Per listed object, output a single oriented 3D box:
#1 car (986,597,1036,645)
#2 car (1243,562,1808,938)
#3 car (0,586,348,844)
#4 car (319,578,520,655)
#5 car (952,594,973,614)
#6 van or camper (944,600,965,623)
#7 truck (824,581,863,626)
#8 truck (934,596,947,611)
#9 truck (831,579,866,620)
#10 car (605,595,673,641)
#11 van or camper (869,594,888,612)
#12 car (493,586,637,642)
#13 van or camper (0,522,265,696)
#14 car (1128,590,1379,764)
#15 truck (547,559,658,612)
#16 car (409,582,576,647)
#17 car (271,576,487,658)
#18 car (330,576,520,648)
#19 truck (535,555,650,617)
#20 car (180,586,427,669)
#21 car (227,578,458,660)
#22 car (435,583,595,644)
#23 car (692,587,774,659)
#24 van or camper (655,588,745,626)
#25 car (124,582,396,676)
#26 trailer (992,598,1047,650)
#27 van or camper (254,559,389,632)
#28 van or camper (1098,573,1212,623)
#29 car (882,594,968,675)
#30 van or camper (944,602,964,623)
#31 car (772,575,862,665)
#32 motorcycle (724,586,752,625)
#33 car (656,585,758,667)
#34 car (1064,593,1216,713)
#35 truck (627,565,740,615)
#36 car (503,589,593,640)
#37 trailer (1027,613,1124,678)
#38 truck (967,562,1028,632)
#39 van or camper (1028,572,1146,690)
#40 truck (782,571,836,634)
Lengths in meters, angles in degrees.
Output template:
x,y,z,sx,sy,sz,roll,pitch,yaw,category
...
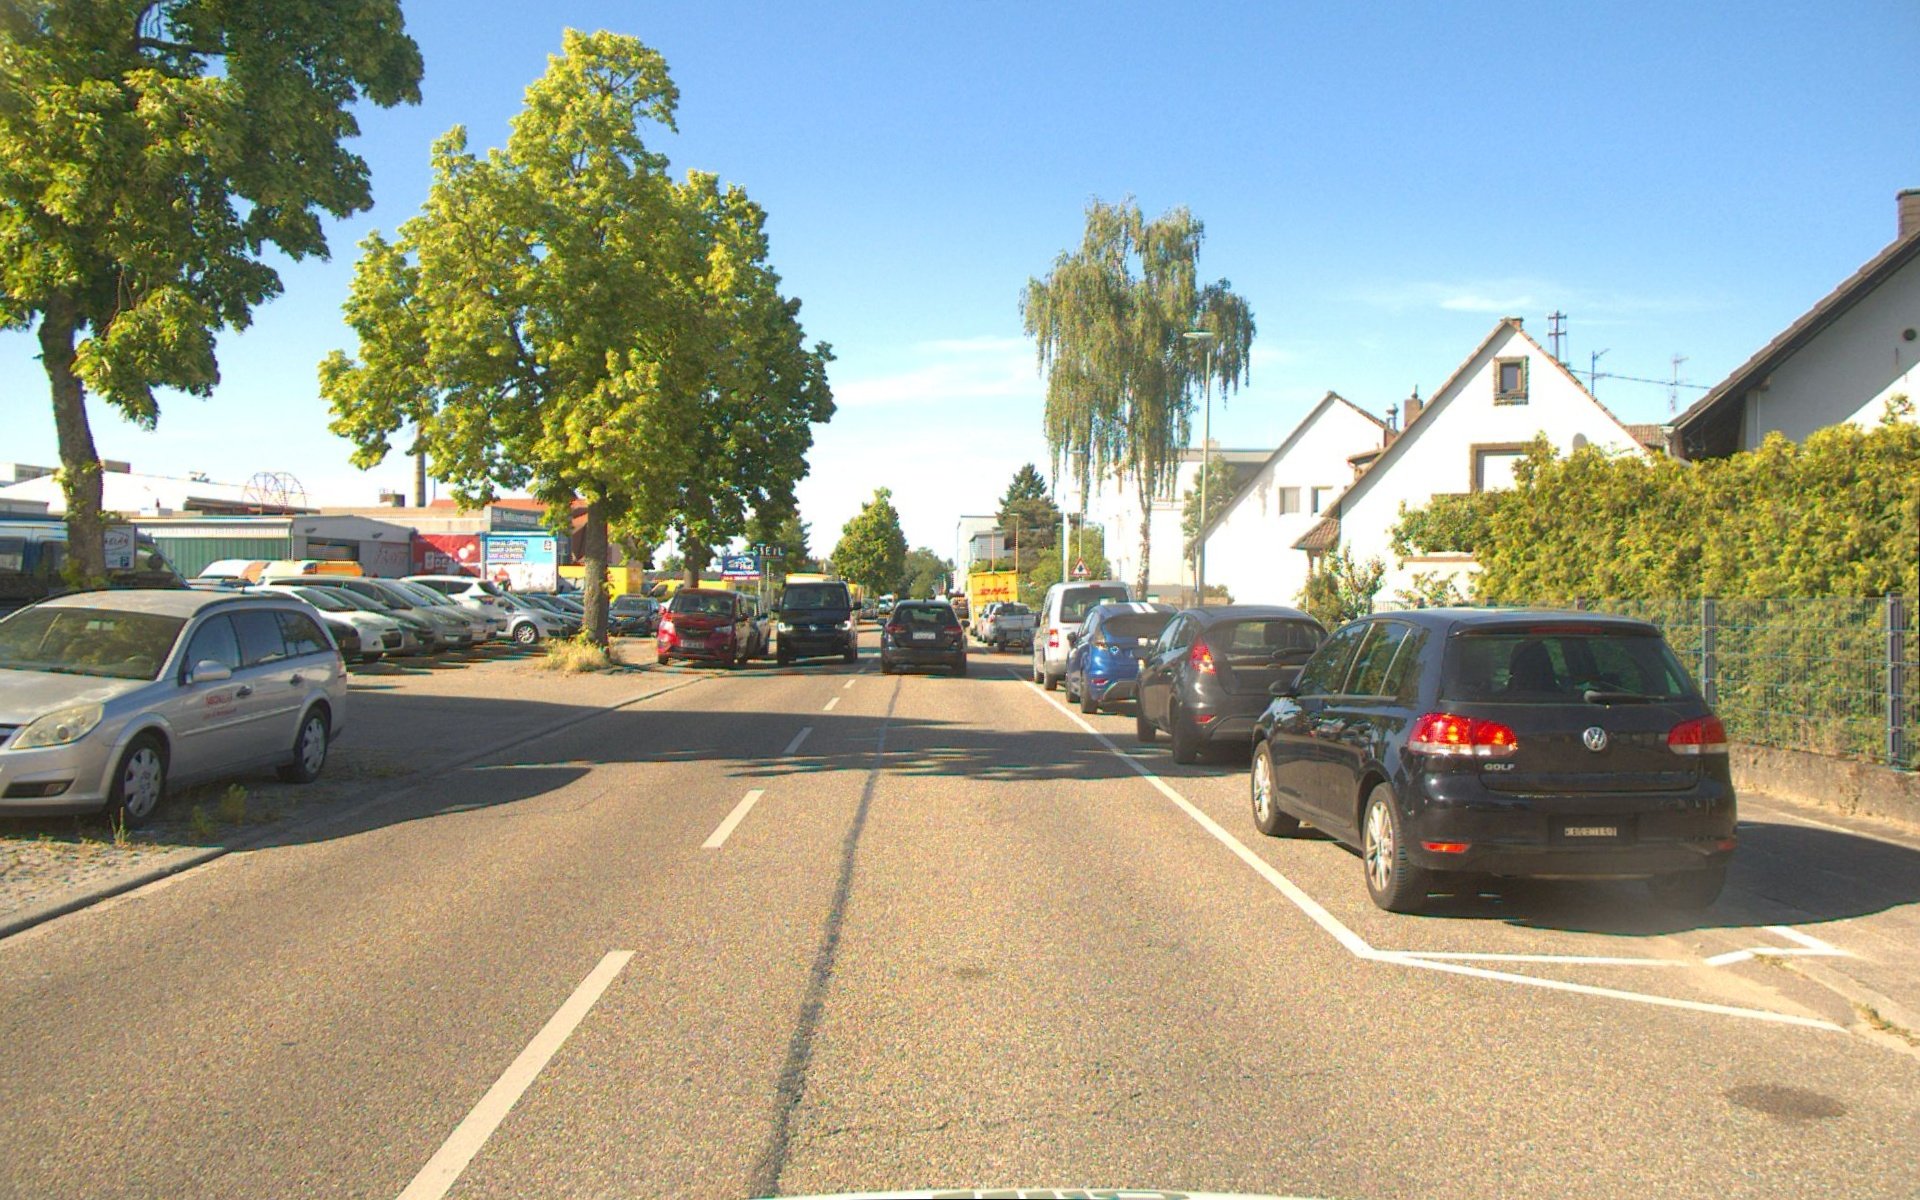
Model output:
x,y,z,sx,sy,sz,roll,pitch,yaw,category
1.778,0.698,57.218,1.639,1.569,4.044,1,0,2,car
2.901,0.679,9.412,1.740,1.688,3.814,1,0,-3,car
-6.080,0.671,11.933,1.652,1.460,4.209,3,0,1,car
-12.782,0.379,39.221,4.159,1.759,1.767,0,0,4,car
0.219,0.351,155.812,1.880,1.857,4.079,0,0,-1,car
-0.567,1.138,166.034,1.953,2.351,3.999,0,0,-1,van or camper
-8.285,0.230,118.106,2.354,3.035,6.372,2,0,-1,truck
-3.029,0.476,260.274,1.953,2.328,6.953,0,0,-1,truck
-8.467,-0.024,125.985,2.148,2.952,6.438,2,0,0,truck
-12.031,0.719,62.220,1.824,1.618,4.274,0,-2,-2,car
-11.102,0.377,224.236,2.278,2.403,6.521,0,0,-5,van or camper
-12.703,0.442,53.328,4.159,1.759,1.767,0,0,4,car
-13.027,0.113,24.187,4.788,2.361,2.245,1,-1,11,van or camper
2.821,0.689,16.712,1.684,1.531,3.905,1,0,-2,car
-21.009,-0.849,97.248,5.961,3.024,2.175,0,0,12,truck
-13.052,0.399,46.347,4.161,1.759,1.766,0,0,1,car
-12.889,0.367,36.822,4.160,1.783,1.766,0,0,2,car
-13.377,0.289,41.508,4.159,1.759,1.767,0,0,4,car
-20.195,-0.778,91.040,5.547,3.174,2.525,2,0,10,truck
-12.868,0.514,32.564,4.160,1.569,1.767,0,1,3,car
-12.890,0.380,34.695,4.163,1.613,1.765,1,0,-3,car
-13.034,0.386,48.584,4.159,1.759,1.767,0,0,4,car
-6.123,0.590,45.056,1.640,1.802,4.553,3,0,-2,car
-14.166,0.376,90.259,4.447,2.049,2.252,0,0,5,van or camper
-12.587,0.505,29.885,4.159,1.569,1.767,1,0,4,car
1.818,0.713,51.268,1.594,1.565,3.198,0,0,0,trailer
-25.245,-0.170,65.732,2.118,2.763,6.274,0,0,9,van or camper
10.331,-0.090,87.583,5.744,2.586,2.270,0,0,-27,van or camper
-0.681,0.660,34.008,1.677,1.559,3.687,0,0,0,car
-0.601,1.215,161.152,1.880,2.055,4.079,0,0,-1,van or camper
-3.494,0.475,41.123,1.855,2.067,4.817,-1,0,-1,car
-11.300,0.254,84.234,0.765,1.905,3.042,3,1,3,motorcycle
-5.933,0.587,39.266,1.767,1.783,4.341,2,0,-1,car
2.454,0.691,23.317,1.684,1.531,3.563,1,0,-1,car
-15.552,-0.561,93.228,5.795,2.612,2.225,2,0,10,truck
-15.498,0.527,62.440,1.738,1.779,4.168,0,1,10,car
2.363,0.921,34.546,1.595,1.238,3.142,0,0,-4,trailer
1.655,-0.121,75.438,2.354,2.988,7.014,-2,0,-1,truck
2.189,0.510,29.415,1.684,1.924,4.179,1,0,-1,van or camper
-7.850,0.133,86.559,2.354,3.035,7.242,2,0,-2,truck
